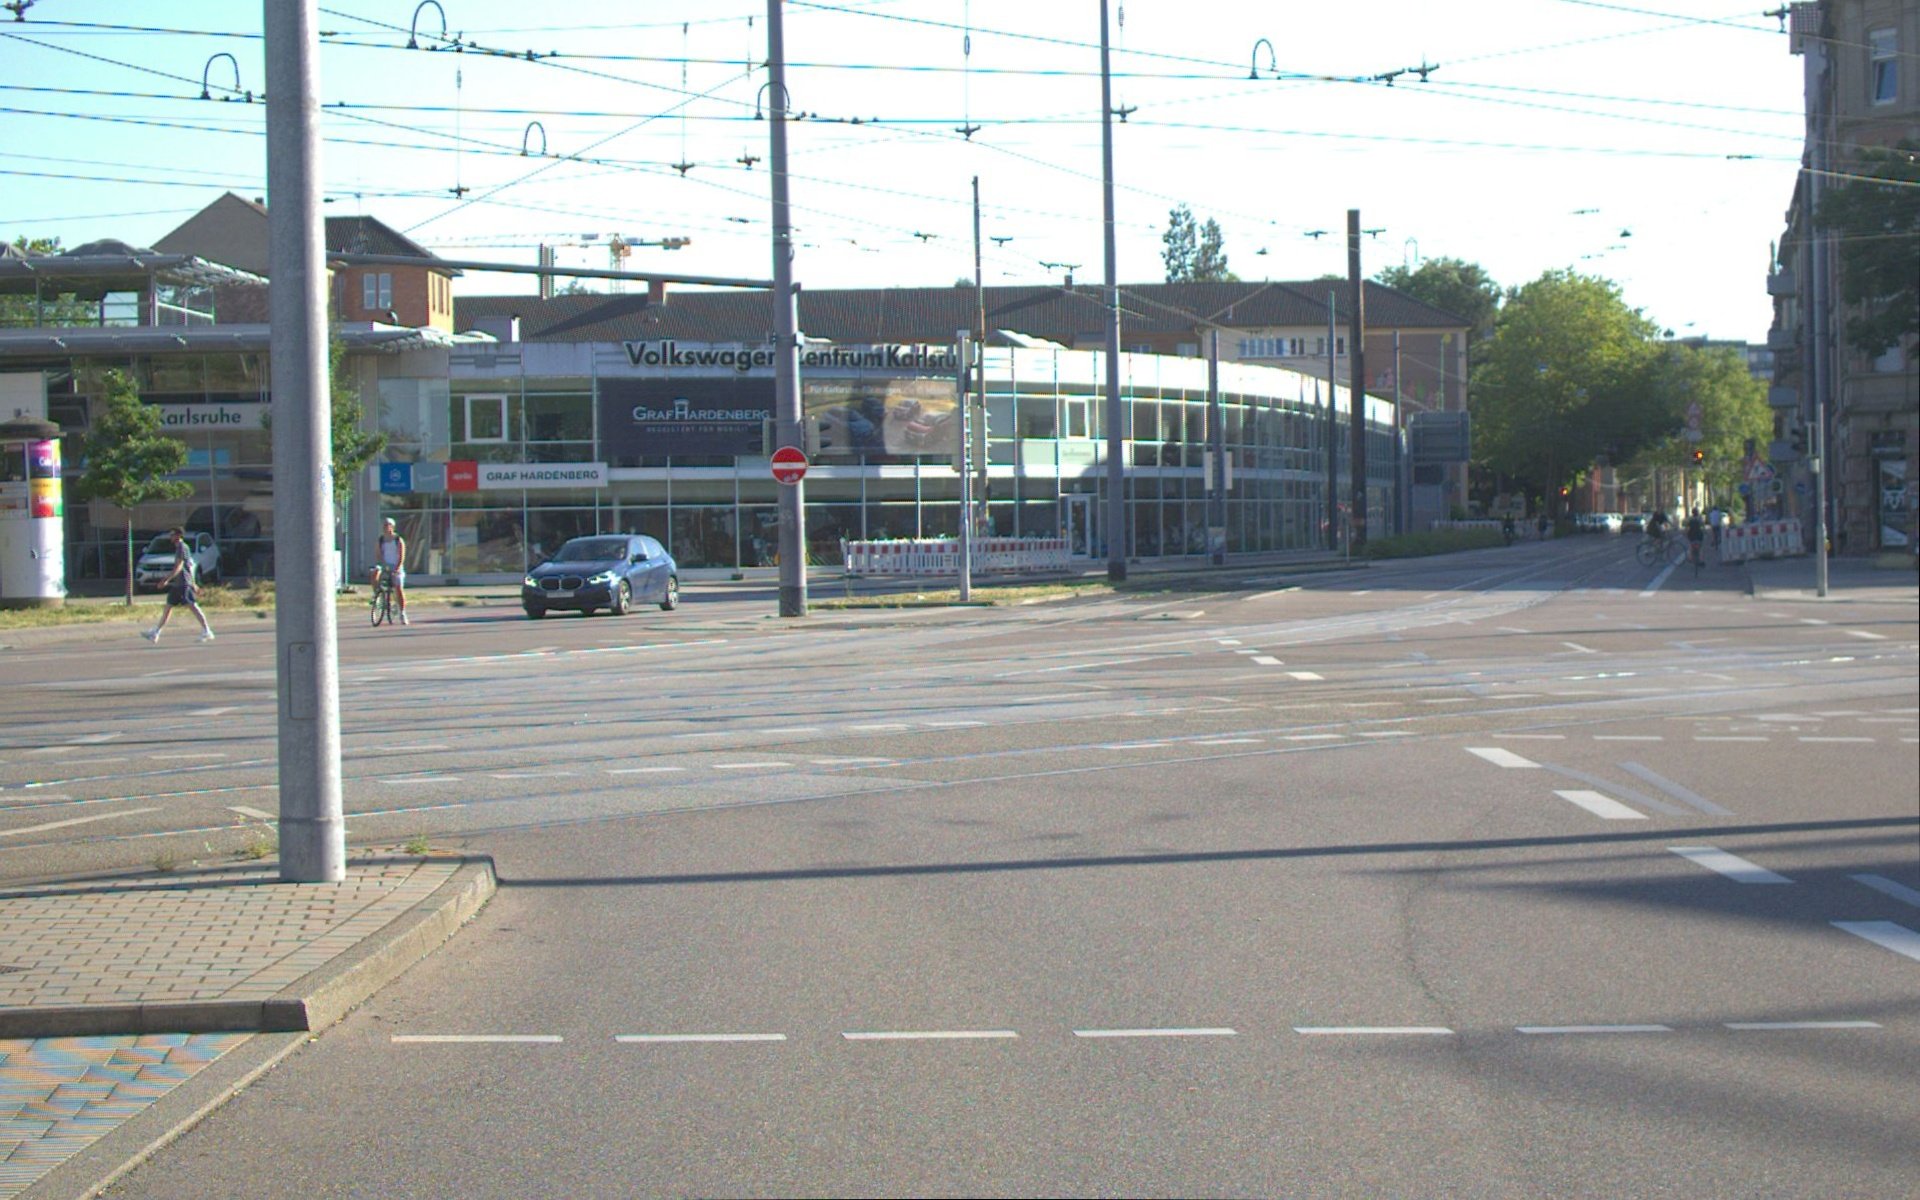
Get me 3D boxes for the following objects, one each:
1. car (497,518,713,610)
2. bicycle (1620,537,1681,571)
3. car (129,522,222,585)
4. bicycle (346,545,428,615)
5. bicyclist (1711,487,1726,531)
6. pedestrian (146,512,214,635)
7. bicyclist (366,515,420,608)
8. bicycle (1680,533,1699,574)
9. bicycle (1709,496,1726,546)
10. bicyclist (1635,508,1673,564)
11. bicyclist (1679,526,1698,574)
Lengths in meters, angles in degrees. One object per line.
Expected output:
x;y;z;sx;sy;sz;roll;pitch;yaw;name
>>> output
-6.333;-0.635;61.723;1.996;1.579;3.994;1;1;27;car
19.716;-1.308;98.225;1.599;0.949;0.658;1;1;43;bicycle
-22.648;-1.338;99.314;1.993;1.744;4.001;1;1;-4;car
-9.934;-0.346;59.628;0.613;1.185;1.867;1;1;17;bicycle
31.333;-3.772;142.015;0.599;1.803;0.827;1;0;13;bicyclist
-12.137;-0.416;53.510;0.795;1.880;0.758;1;0;7;pedestrian
-9.865;-0.667;59.822;0.598;1.610;0.822;1;0;17;bicyclist
16.936;-1.066;79.826;0.410;0.938;1.844;1;1;12;bicycle
31.311;-3.255;142.094;0.618;2.007;2.398;1;0;13;bicycle
19.806;-1.830;98.131;0.761;1.571;0.772;1;1;45;bicyclist
16.942;-1.153;79.916;0.408;1.112;0.399;1;0;11;bicyclist
